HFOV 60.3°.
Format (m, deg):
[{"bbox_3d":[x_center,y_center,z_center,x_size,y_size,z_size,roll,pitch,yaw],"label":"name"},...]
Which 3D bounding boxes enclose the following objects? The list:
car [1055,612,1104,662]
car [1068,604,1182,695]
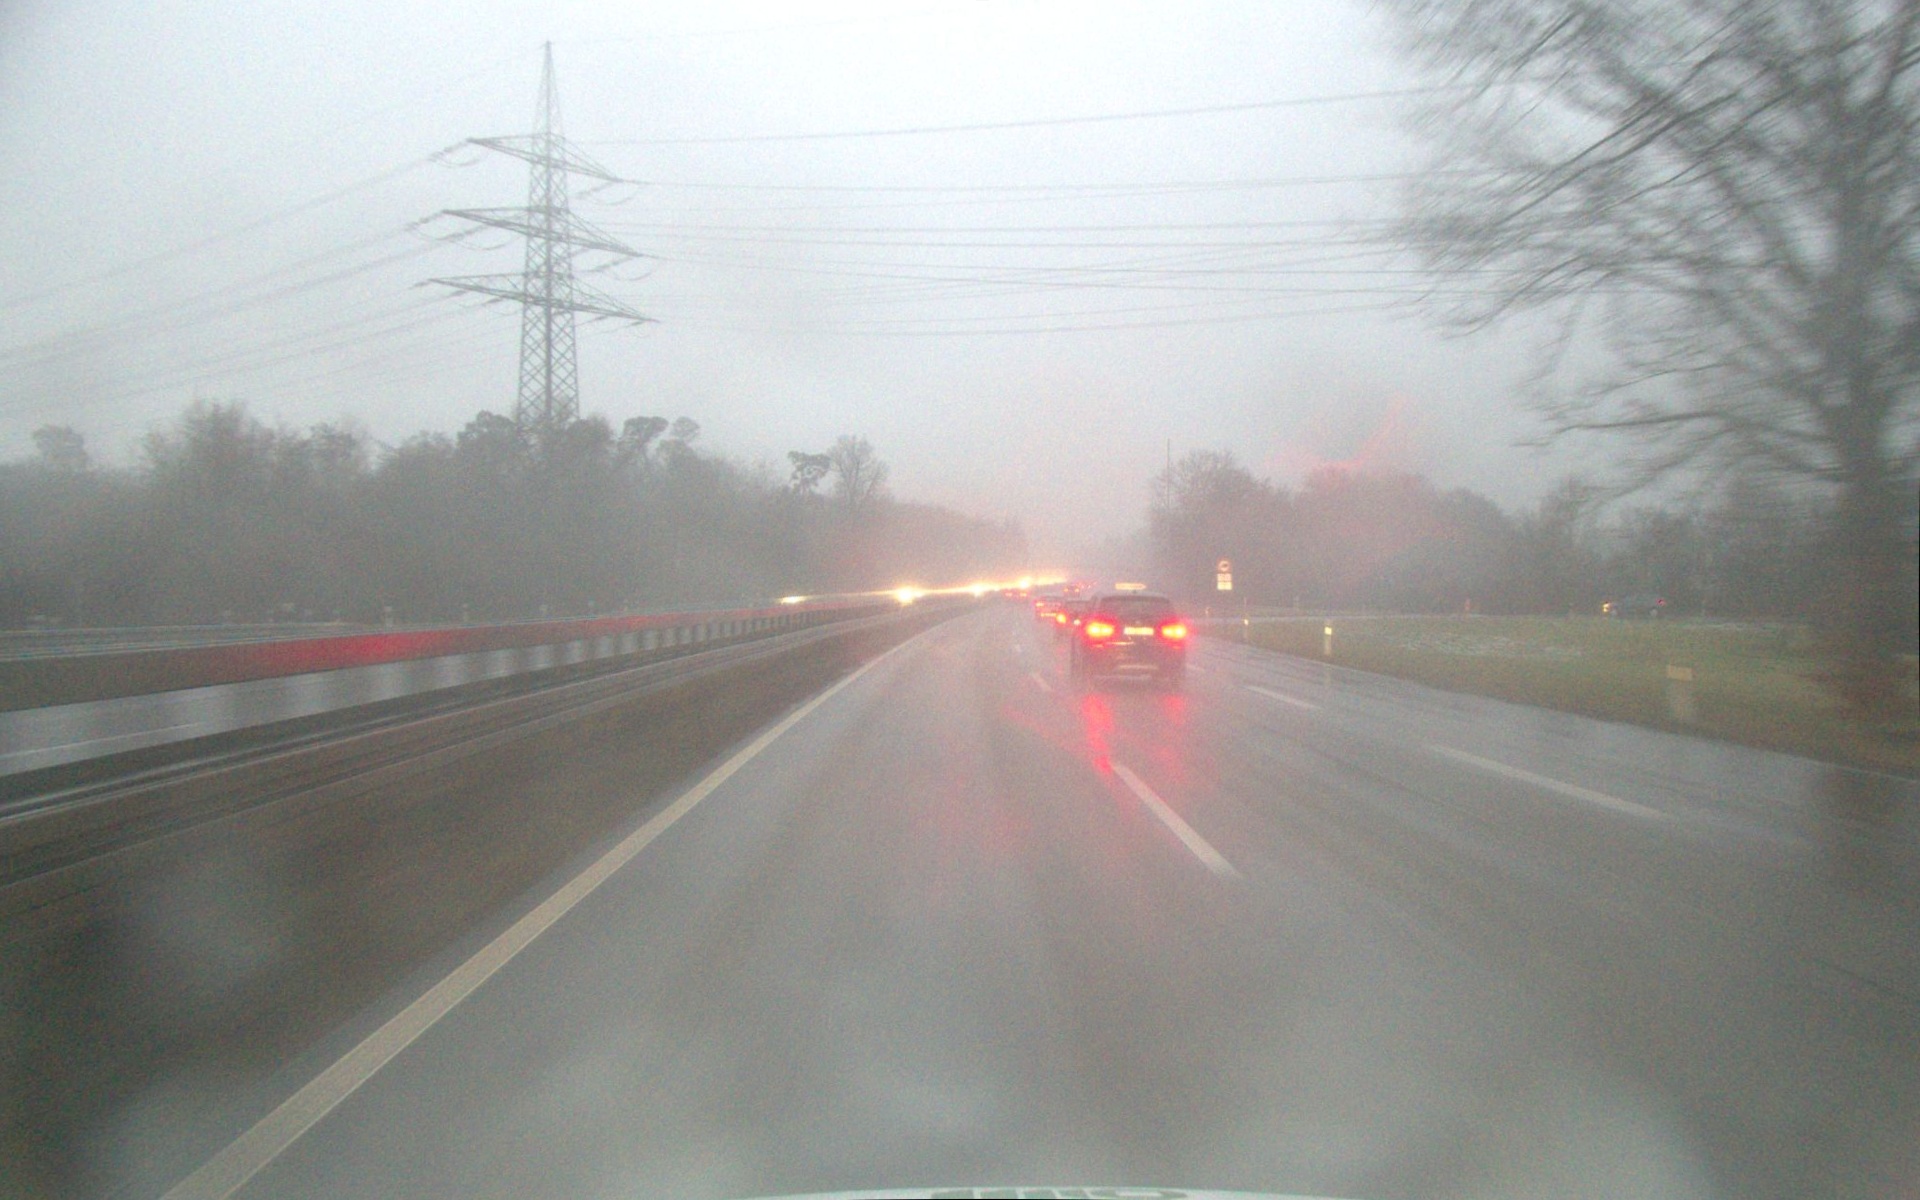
[{"bbox_3d":[4.039,1.215,55.612,1.561,1.517,3.596,0,1,5],"label":"car"},{"bbox_3d":[3.013,0.871,30.808,1.644,1.535,3.808,0,1,-1],"label":"car"}]
